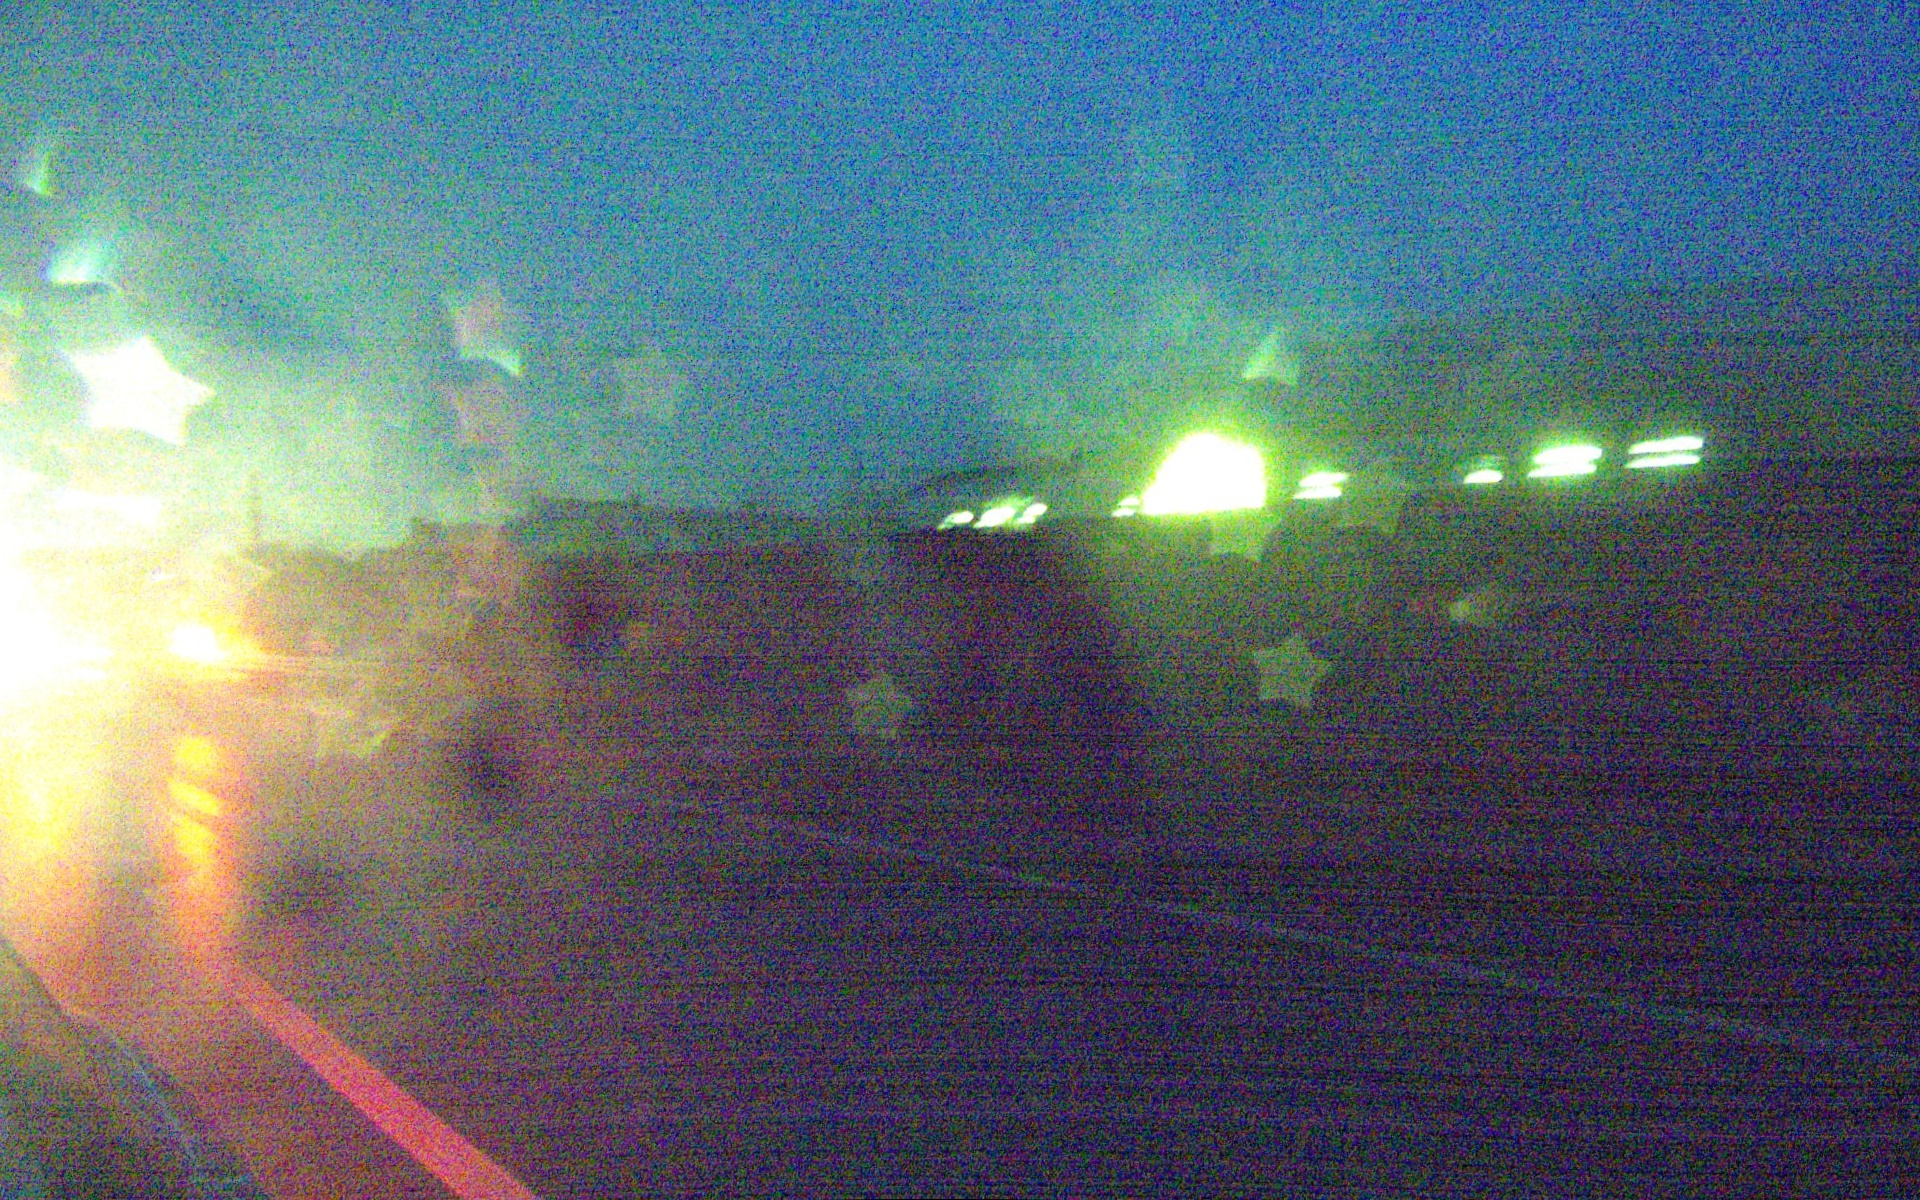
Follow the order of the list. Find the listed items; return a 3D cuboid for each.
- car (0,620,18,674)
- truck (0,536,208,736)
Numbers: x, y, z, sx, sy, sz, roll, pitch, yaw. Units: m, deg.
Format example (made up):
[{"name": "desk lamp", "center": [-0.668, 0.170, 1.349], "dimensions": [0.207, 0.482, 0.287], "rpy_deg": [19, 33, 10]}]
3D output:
[{"name": "car", "center": [-30.309, 1.450, 30.917], "dimensions": [4.048, 1.588, 1.865], "rpy_deg": [-2, -1, 41]}, {"name": "truck", "center": [-13.491, 0.510, 15.401], "dimensions": [5.274, 2.554, 2.116], "rpy_deg": [-2, -1, 40]}]
